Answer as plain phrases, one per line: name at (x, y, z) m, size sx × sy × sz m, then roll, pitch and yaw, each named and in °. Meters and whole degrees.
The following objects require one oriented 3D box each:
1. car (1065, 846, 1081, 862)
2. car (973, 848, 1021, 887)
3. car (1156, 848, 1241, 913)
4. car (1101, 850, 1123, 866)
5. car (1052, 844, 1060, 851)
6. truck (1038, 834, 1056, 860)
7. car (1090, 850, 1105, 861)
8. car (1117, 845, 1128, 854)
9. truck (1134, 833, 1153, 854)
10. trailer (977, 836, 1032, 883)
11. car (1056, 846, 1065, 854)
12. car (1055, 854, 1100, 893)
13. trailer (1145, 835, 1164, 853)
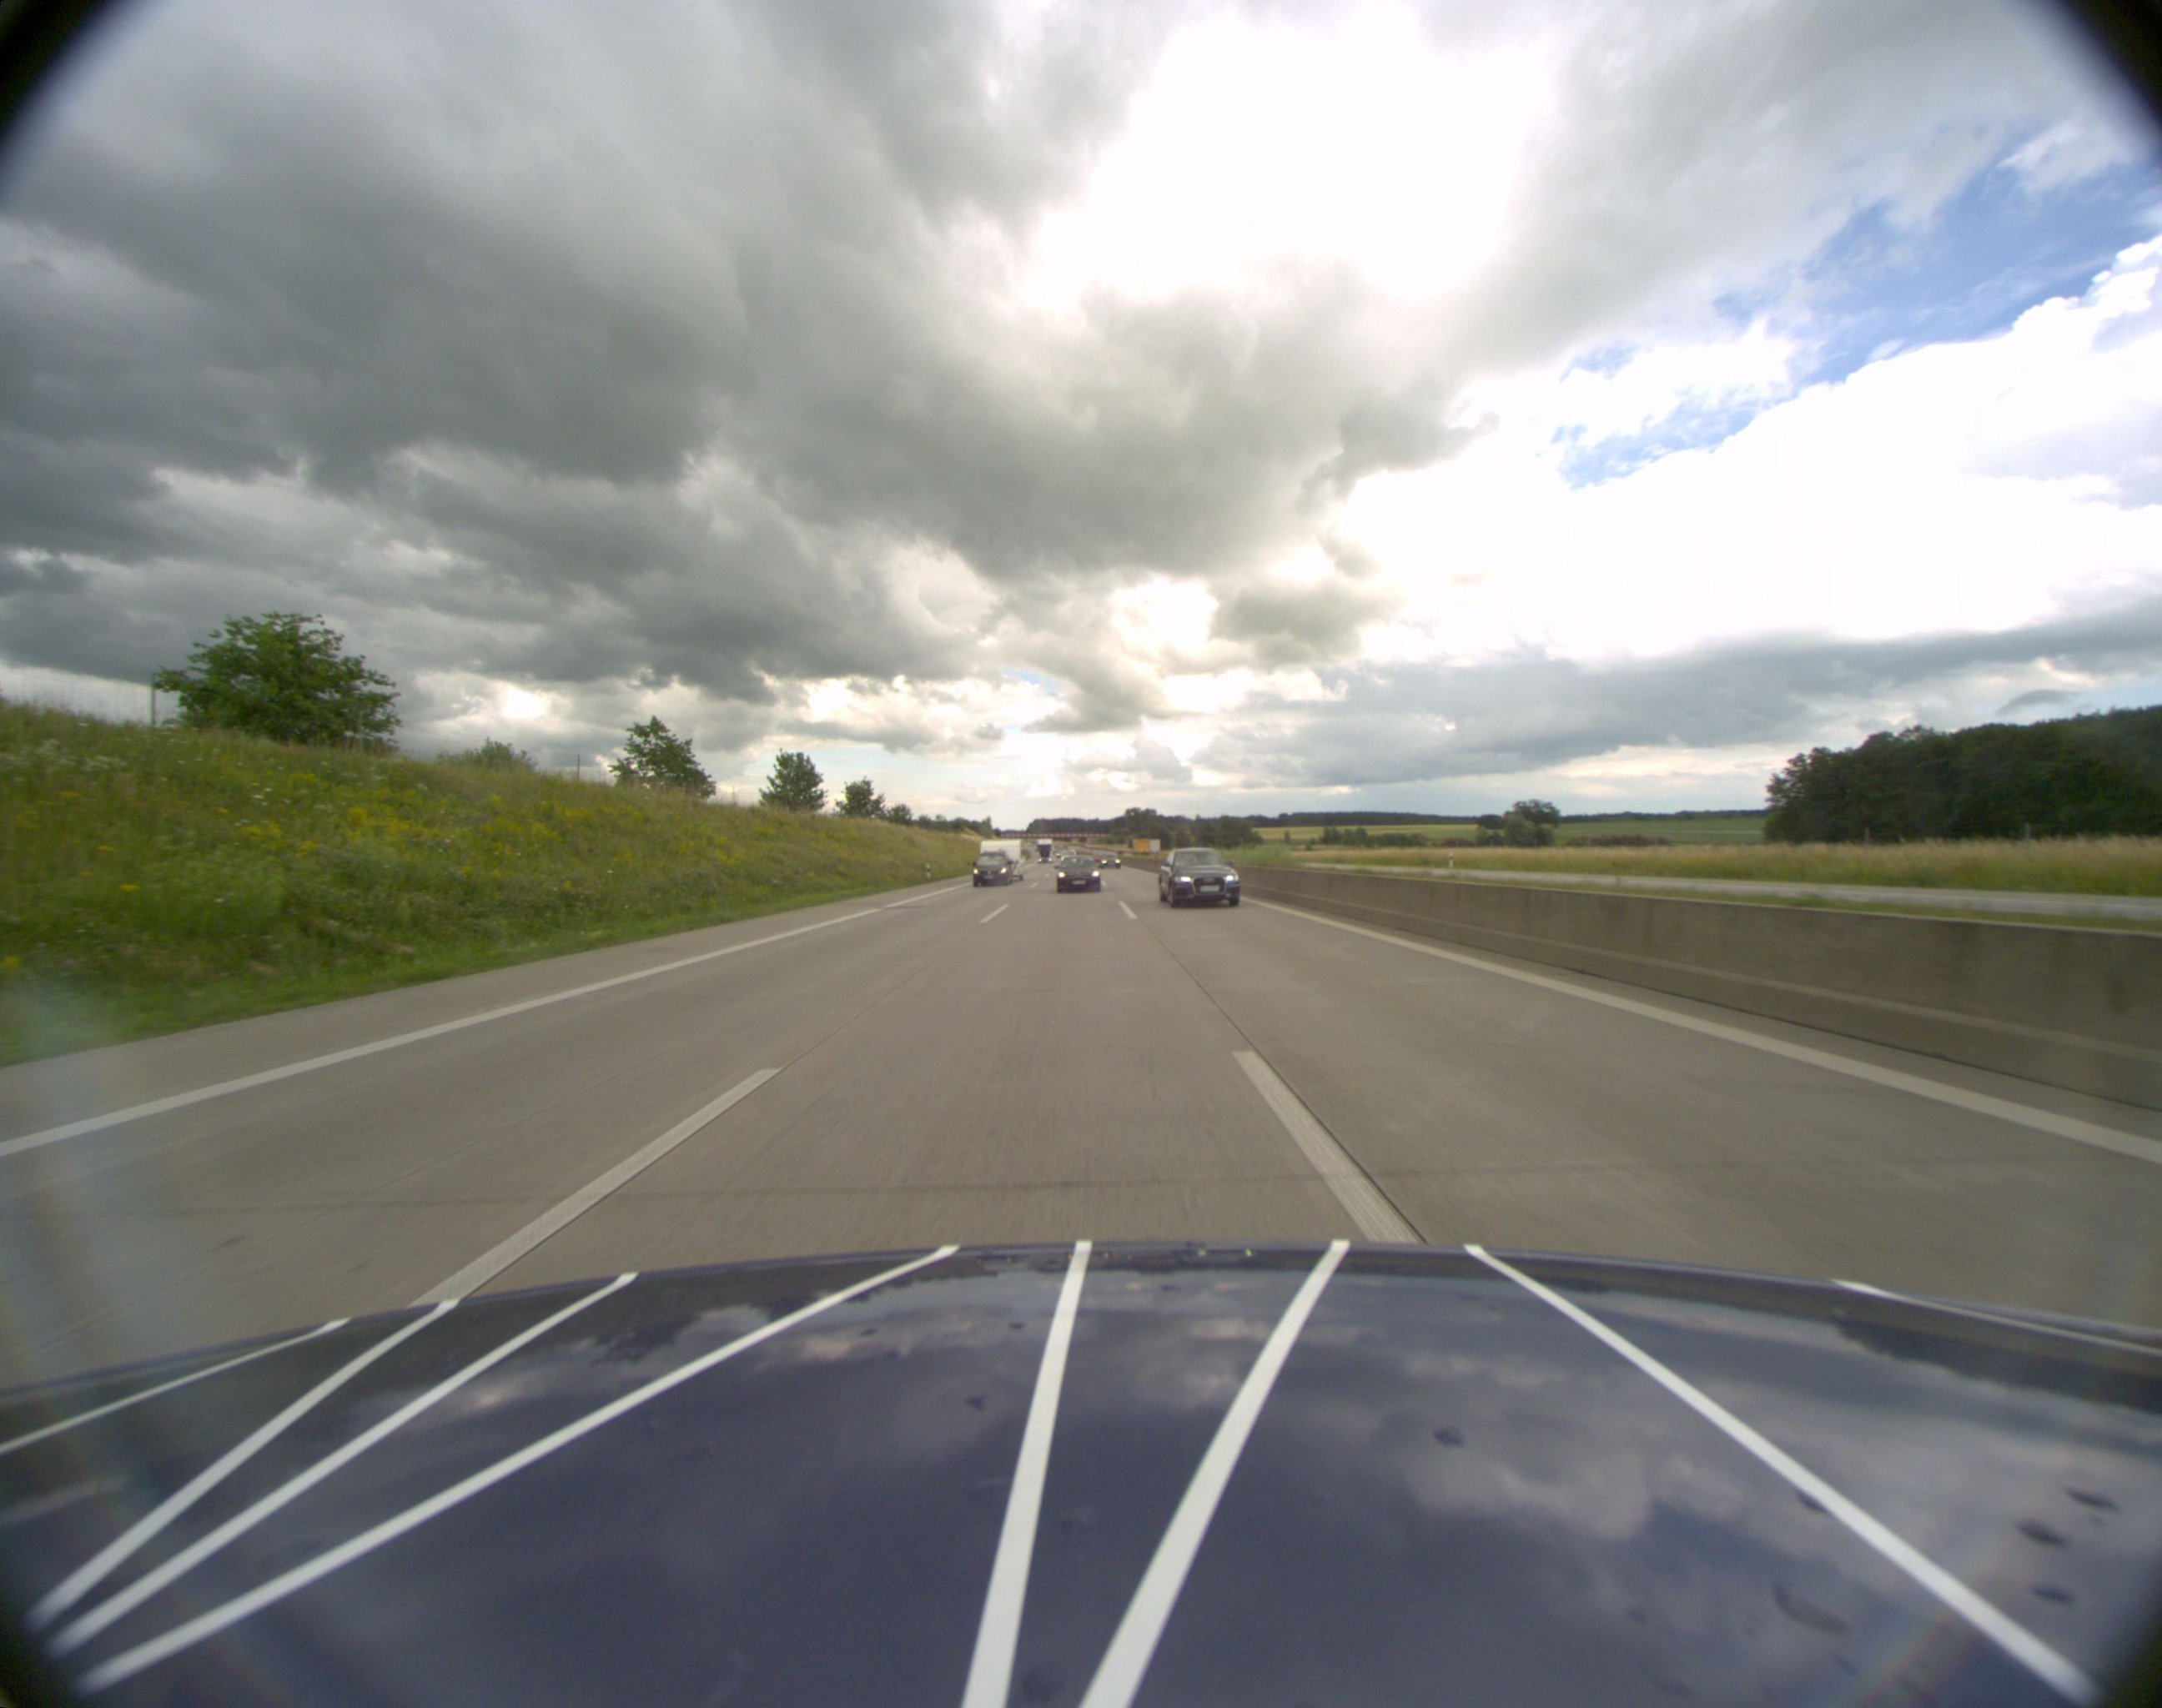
car at (-1.079, 0.003, 97.333) m, size 1.999 × 2.002 × 3.999 m, roll -1°, pitch 0°, yaw -2°
car at (-4.315, 0.632, 39.609) m, size 1.944 × 1.799 × 5.030 m, roll -1°, pitch 1°, yaw 0°
car at (3.254, 0.650, 21.916) m, size 1.797 × 1.587 × 5.157 m, roll -2°, pitch 1°, yaw 2°
car at (3.019, 0.356, 72.844) m, size 1.939 × 1.464 × 4.001 m, roll -1°, pitch 0°, yaw 4°
car at (-7.613, -1.887, 231.080) m, size 2.358 × 2.002 × 4.810 m, roll -2°, pitch 1°, yaw -1°
truck at (-5.905, -1.219, 133.276) m, size 2.855 × 4.176 × 10.707 m, roll -1°, pitch 0°, yaw -2°
car at (2.288, 0.167, 105.065) m, size 1.821 × 1.364 × 3.783 m, roll -3°, pitch 1°, yaw 4°
car at (9.094, -1.052, 166.844) m, size 1.817 × 1.951 × 5.338 m, roll -2°, pitch 1°, yaw -2°
truck at (12.936, -2.159, 158.225) m, size 2.824 × 4.015 × 10.566 m, roll -1°, pitch 0°, yaw -1°
trailer at (-4.468, 0.261, 45.479) m, size 2.615 × 2.520 × 6.720 m, roll -1°, pitch 1°, yaw 0°
car at (-5.153, -0.986, 189.297) m, size 1.998 × 2.002 × 3.999 m, roll -2°, pitch 1°, yaw 0°
car at (-0.134, 0.749, 31.202) m, size 1.691 × 1.405 × 3.999 m, roll -1°, pitch 1°, yaw 0°
trailer at (16.606, -2.205, 172.719) m, size 2.847 × 4.014 × 13.904 m, roll -1°, pitch 0°, yaw -1°
